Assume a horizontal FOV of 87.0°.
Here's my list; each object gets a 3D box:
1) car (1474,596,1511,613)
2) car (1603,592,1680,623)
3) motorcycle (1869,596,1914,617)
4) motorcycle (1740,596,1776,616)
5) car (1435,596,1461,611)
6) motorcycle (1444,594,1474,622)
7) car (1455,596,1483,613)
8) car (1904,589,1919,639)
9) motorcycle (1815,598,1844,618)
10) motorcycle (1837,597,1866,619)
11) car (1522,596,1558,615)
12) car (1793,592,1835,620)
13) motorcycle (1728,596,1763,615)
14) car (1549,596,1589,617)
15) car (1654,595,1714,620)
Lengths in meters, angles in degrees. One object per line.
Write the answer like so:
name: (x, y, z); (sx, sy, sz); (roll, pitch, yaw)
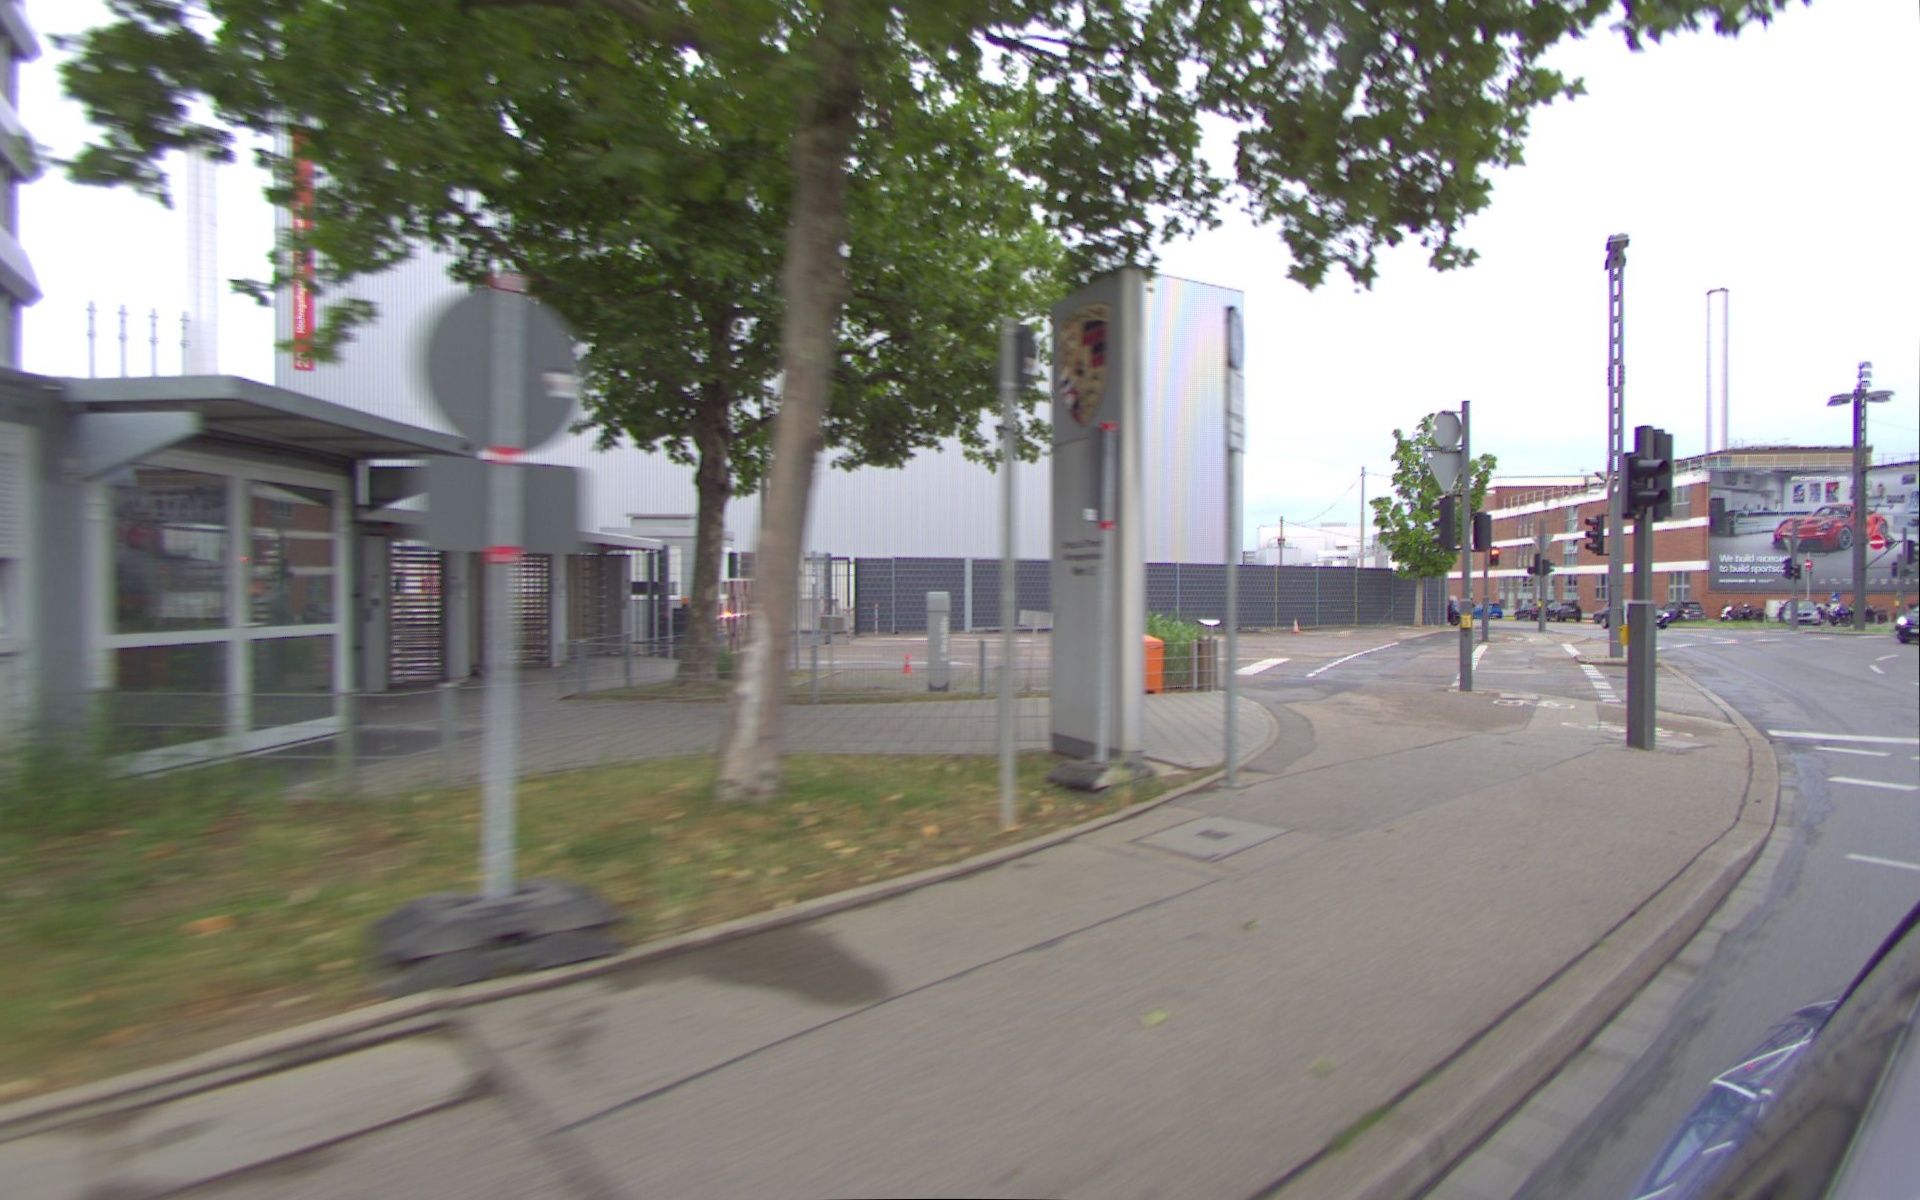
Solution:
car: (48.946, 0.410, 93.059); (1.666, 1.462, 3.386); (-3, 0, 3)
car: (33.531, 0.327, 49.911); (1.694, 1.444, 3.986); (-1, 0, 11)
motorcycle: (52.990, 0.376, 57.574); (1.834, 1.125, 0.543); (-3, 0, 9)
motorcycle: (49.715, 0.384, 63.049); (1.579, 1.134, 0.542); (-3, 0, 16)
car: (50.245, 0.344, 104.257); (1.436, 1.393, 3.379); (-3, 0, 10)
motorcycle: (24.244, 0.393, 49.191); (0.644, 1.327, 2.096); (0, -1, 8)
car: (49.479, 0.411, 98.457); (1.436, 1.462, 3.379); (-3, 0, 10)
car: (32.056, 0.363, 31.996); (3.928, 1.526, 1.698); (-3, 0, -22)
motorcycle: (52.726, 0.477, 61.376); (0.536, 1.195, 1.707); (-3, 0, 11)
motorcycle: (49.933, 0.464, 56.701); (0.488, 1.160, 1.714); (-3, 0, 17)
car: (47.440, 0.445, 82.854); (1.436, 1.462, 3.379); (-3, 0, 10)
car: (48.533, 0.325, 57.550); (1.615, 1.522, 3.204); (-1, 0, 37)
motorcycle: (49.695, 0.361, 64.028); (1.625, 1.125, 0.542); (-3, 0, 16)
car: (46.661, 0.481, 77.551); (1.436, 1.462, 3.455); (-3, 0, 10)
car: (45.247, 0.495, 63.276); (1.521, 1.512, 2.756); (1, -1, -12)
